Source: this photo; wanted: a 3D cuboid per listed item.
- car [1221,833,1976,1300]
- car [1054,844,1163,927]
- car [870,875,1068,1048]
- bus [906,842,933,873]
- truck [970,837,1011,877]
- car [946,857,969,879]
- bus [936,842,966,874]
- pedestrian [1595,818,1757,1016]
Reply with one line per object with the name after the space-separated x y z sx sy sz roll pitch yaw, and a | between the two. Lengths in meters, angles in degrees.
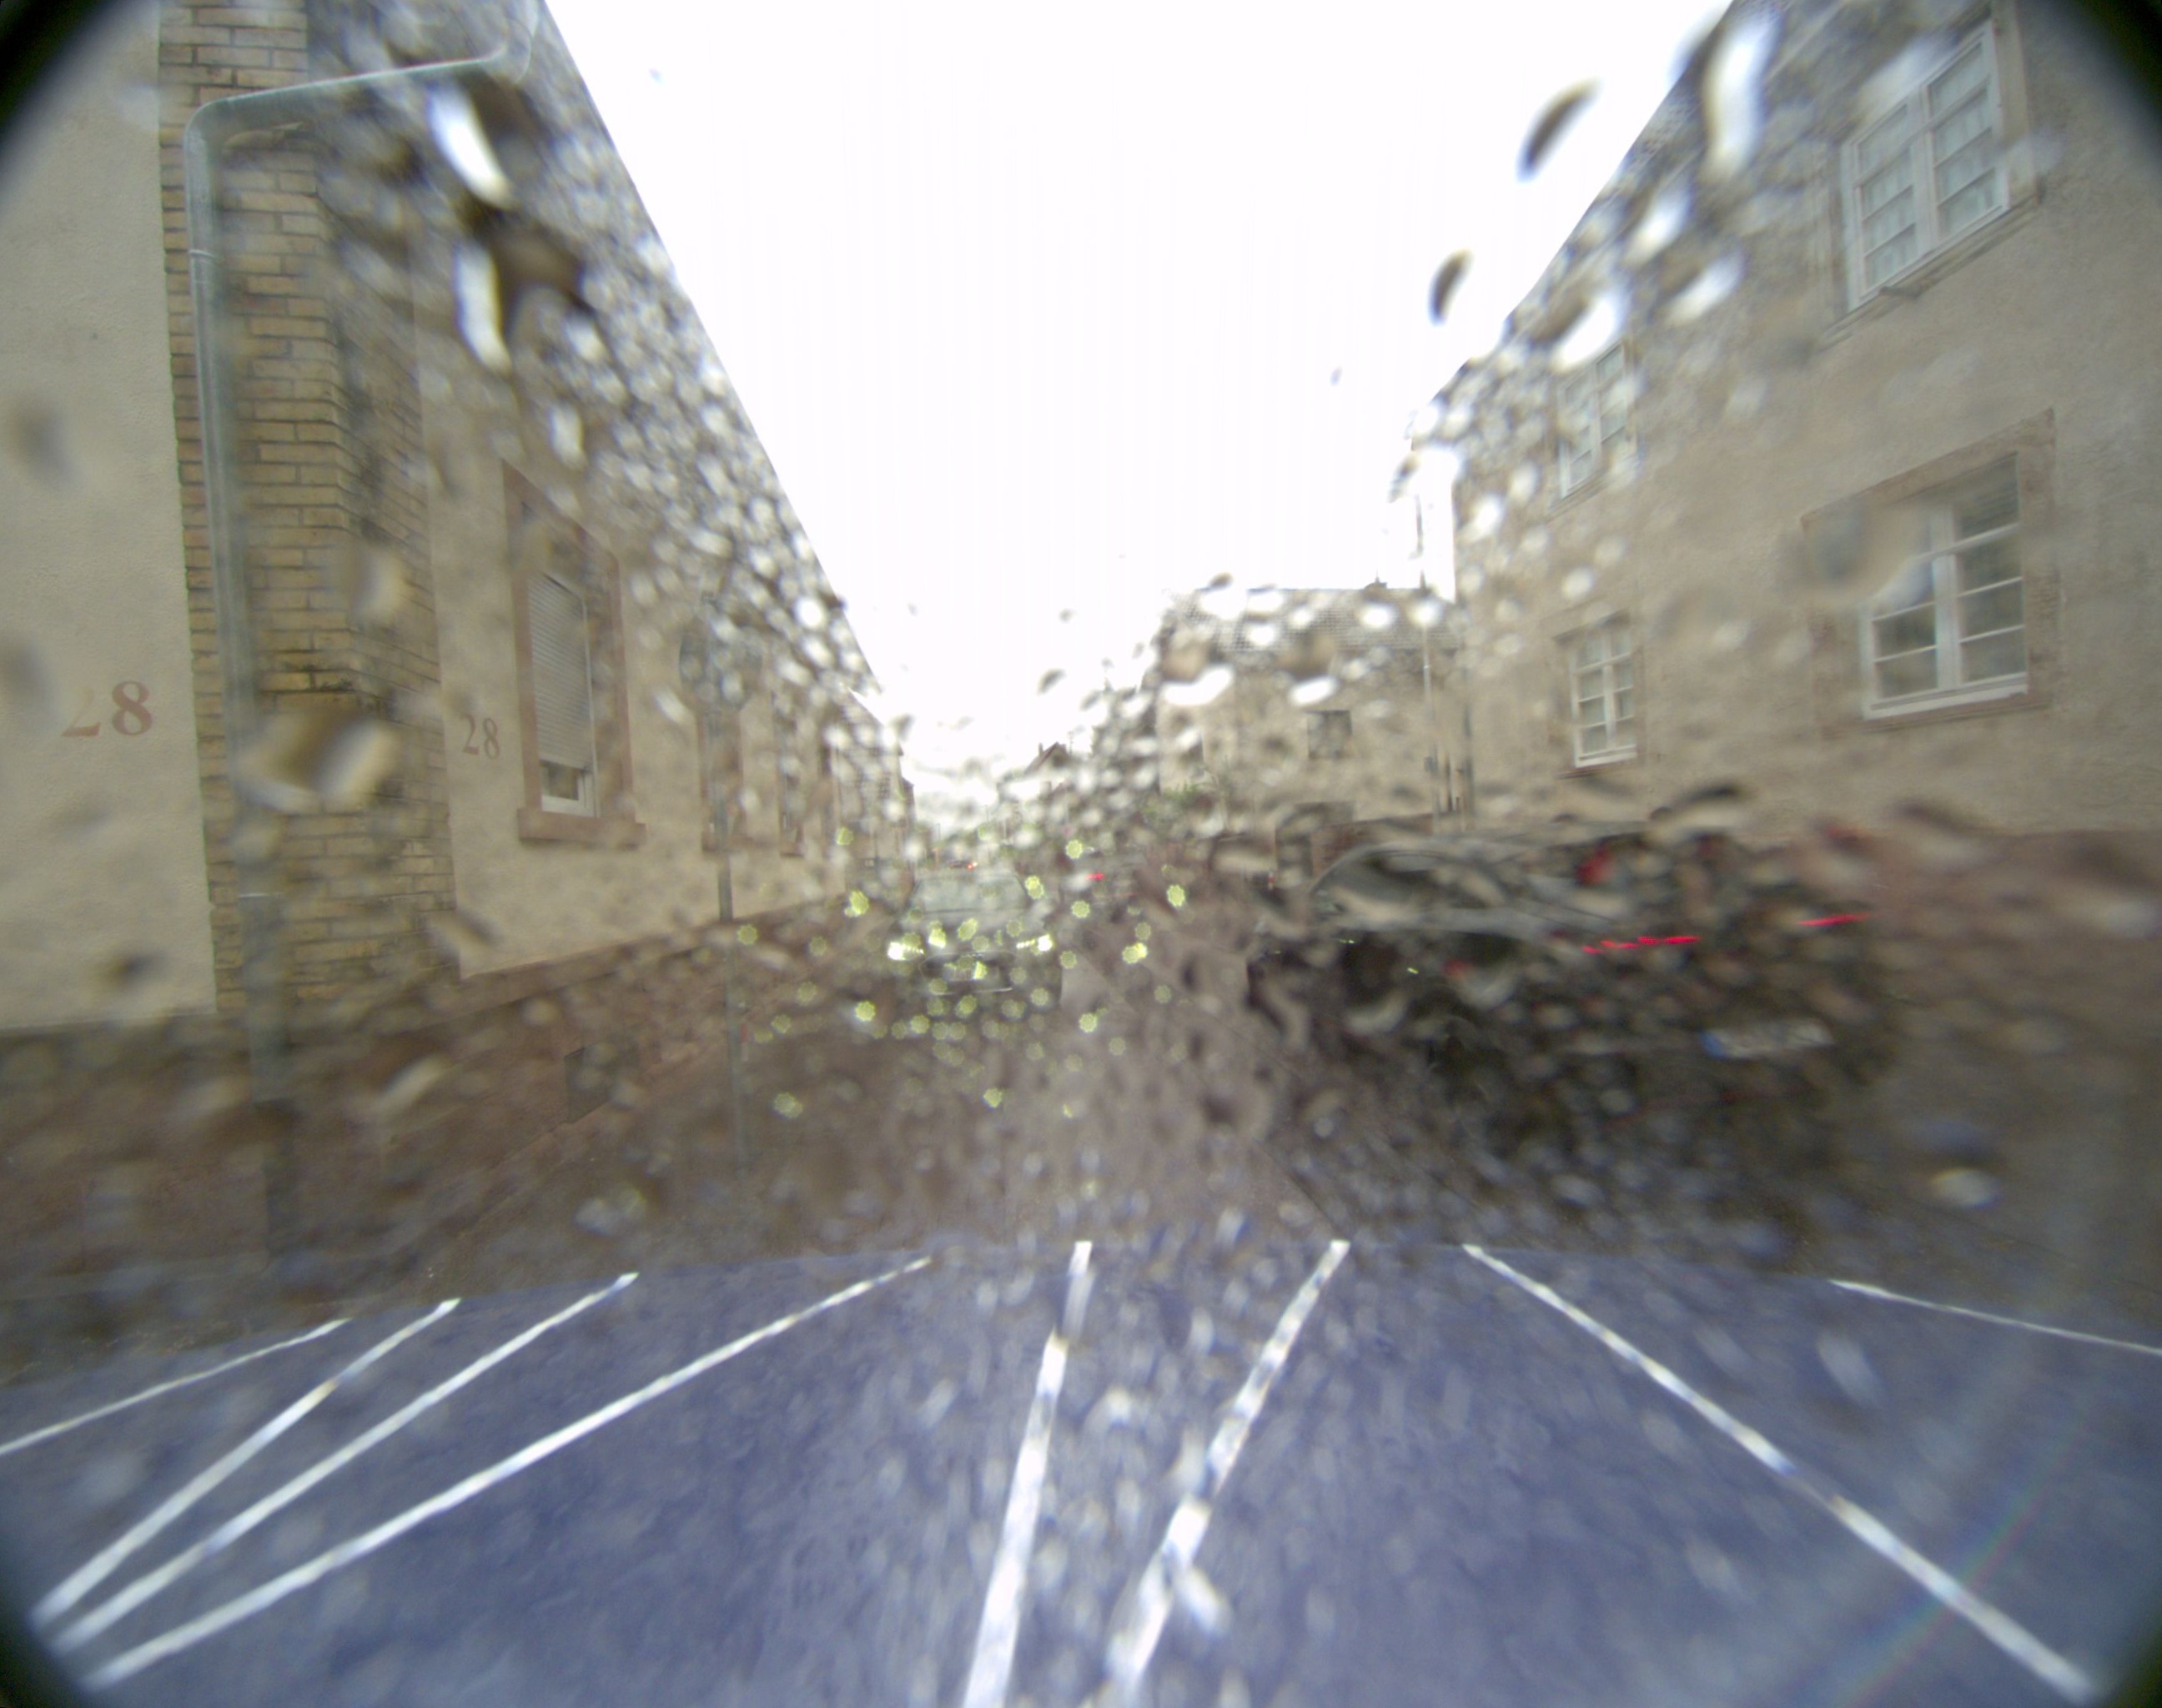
2.316 0.749 4.676 1.627 1.502 3.790 -6 1 -8 | car
0.526 0.650 18.594 1.786 1.655 4.422 -5 2 -8 | car
-1.324 1.022 8.976 1.740 1.363 4.098 -2 0 -9 | car
-18.167 0.344 85.647 2.670 3.213 12.178 -2 1 -12 | bus
-6.219 0.154 51.475 2.001 2.490 5.643 -2 1 -14 | truck
-11.091 1.208 67.984 1.804 1.805 3.996 -2 1 -11 | car
-14.578 0.404 84.361 2.670 3.213 12.178 -2 1 -12 | bus
5.032 0.500 6.472 0.574 1.529 0.832 -5 1 -12 | pedestrian
